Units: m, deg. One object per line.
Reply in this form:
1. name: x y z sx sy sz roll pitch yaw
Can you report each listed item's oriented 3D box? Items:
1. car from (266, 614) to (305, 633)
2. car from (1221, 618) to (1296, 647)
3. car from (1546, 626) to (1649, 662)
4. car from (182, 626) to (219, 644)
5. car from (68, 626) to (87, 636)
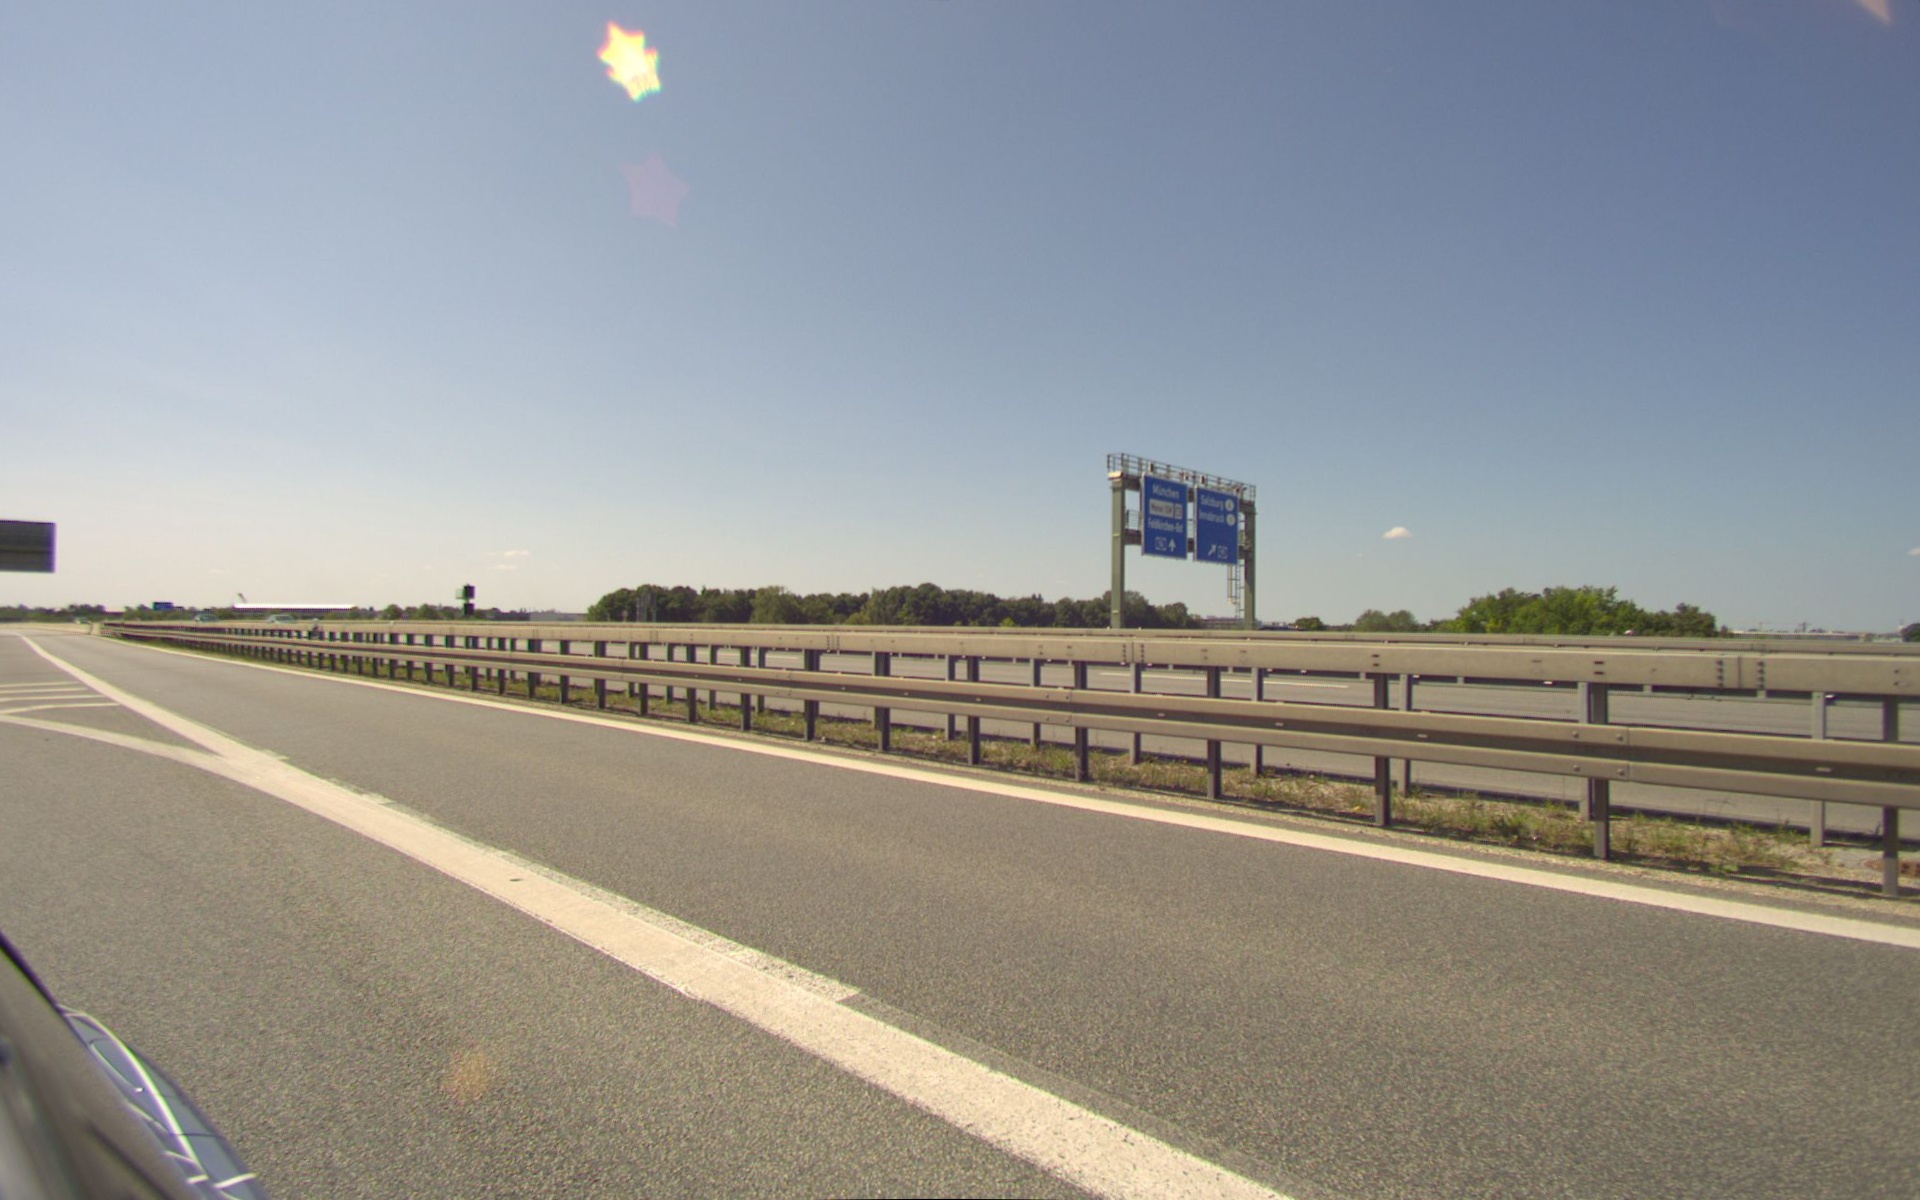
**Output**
1. car: -54.992 1.889 82.528 4.217 1.433 1.743 -1 -1 43
2. car: 16.485 1.781 55.890 3.618 1.367 1.605 2 0 44
3. car: 28.488 1.943 45.288 3.618 1.367 1.605 2 0 44
4. car: -64.044 2.940 85.332 4.217 1.443 1.809 -1 -1 43
5. car: -143.505 5.030 164.582 4.576 1.529 1.817 -1 -1 43
